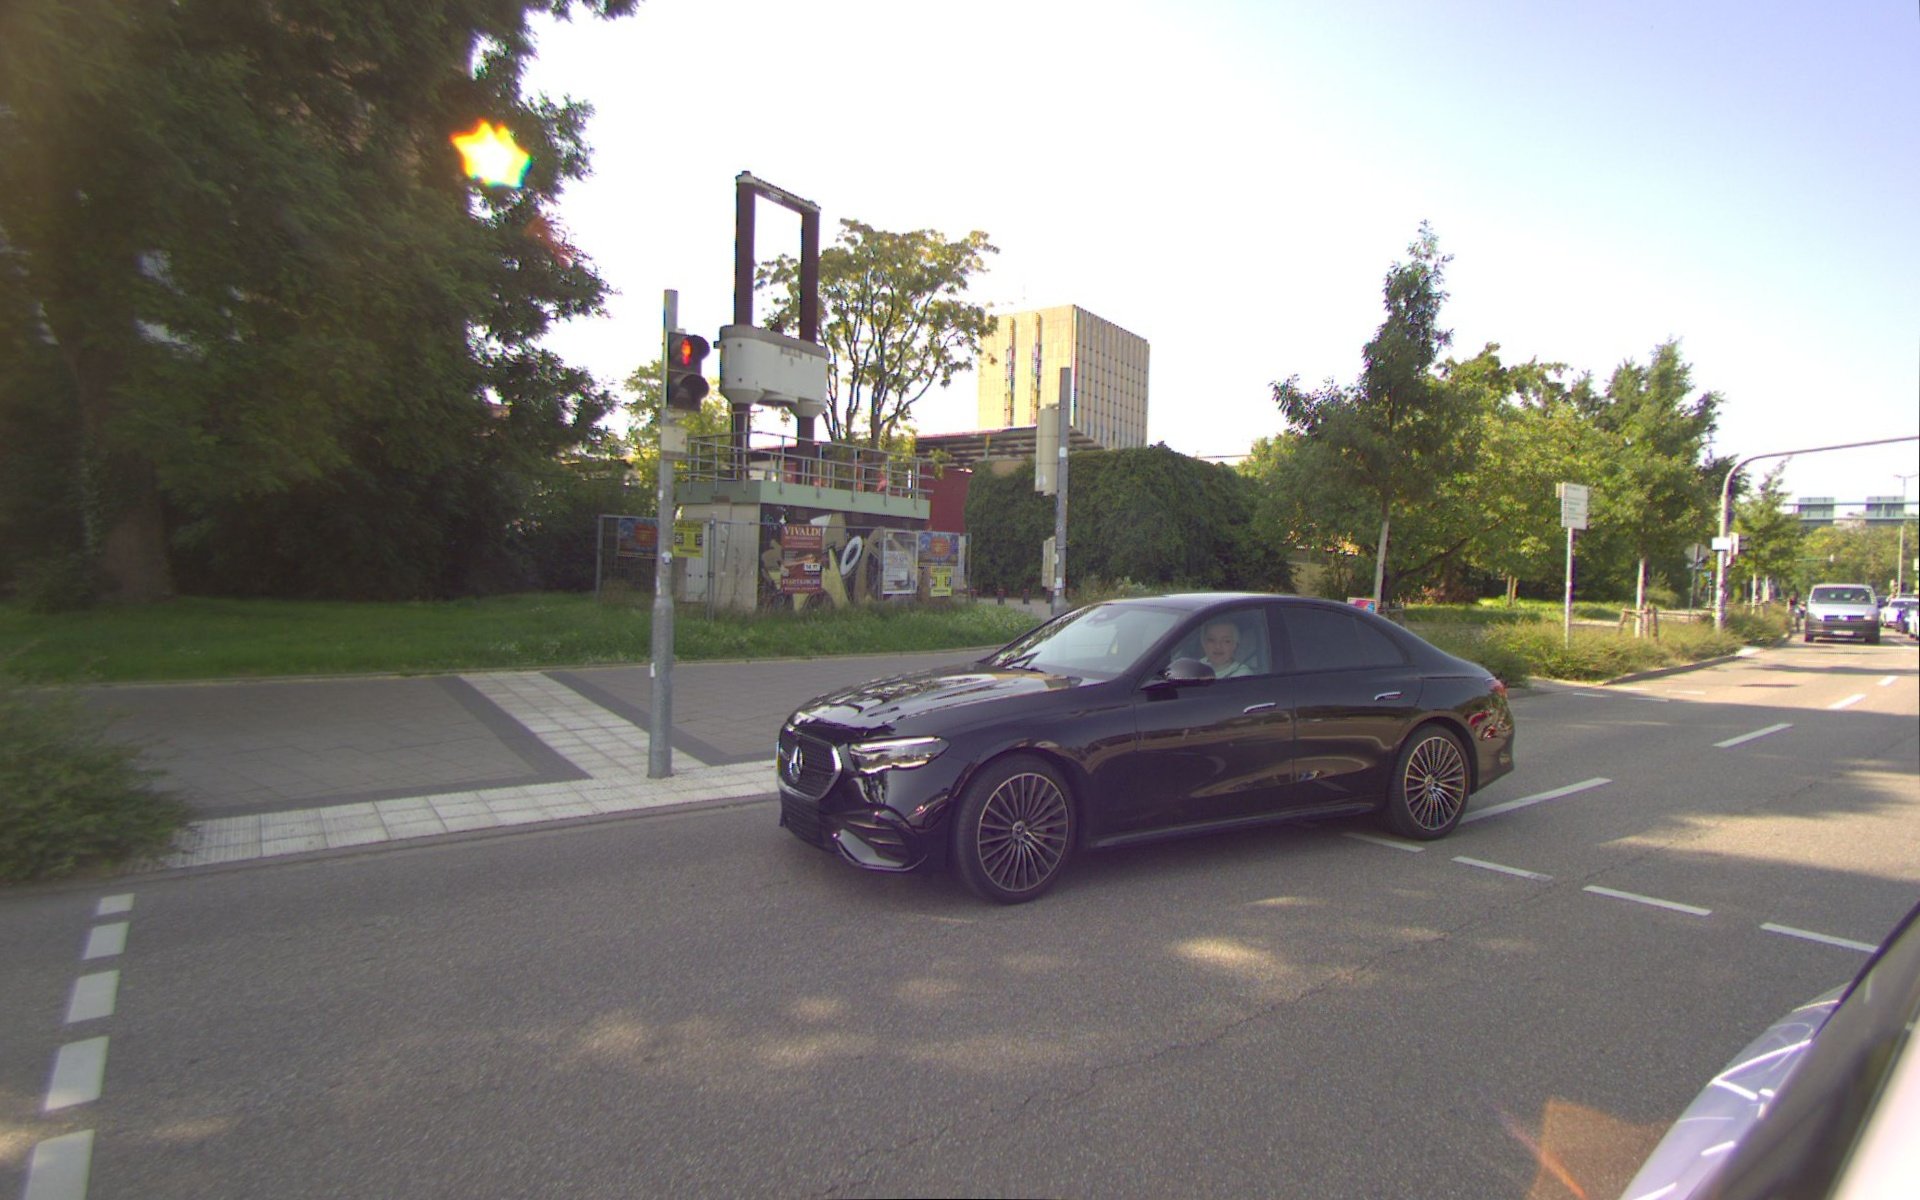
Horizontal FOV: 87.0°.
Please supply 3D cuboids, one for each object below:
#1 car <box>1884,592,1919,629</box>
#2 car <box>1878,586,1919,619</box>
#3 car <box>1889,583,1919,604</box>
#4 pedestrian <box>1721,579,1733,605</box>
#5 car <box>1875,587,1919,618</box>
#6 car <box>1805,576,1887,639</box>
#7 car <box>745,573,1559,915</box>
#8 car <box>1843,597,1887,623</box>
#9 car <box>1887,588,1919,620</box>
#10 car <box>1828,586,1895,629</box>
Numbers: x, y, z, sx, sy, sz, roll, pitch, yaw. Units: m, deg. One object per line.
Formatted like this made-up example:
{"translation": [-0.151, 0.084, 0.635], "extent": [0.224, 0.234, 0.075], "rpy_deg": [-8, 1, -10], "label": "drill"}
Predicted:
{"translation": [42.497, 0.462, 44.898], "extent": [1.992, 1.524, 4.370], "rpy_deg": [3, 2, 40], "label": "car"}
{"translation": [51.604, 0.122, 55.131], "extent": [1.922, 1.680, 4.238], "rpy_deg": [3, 2, 37], "label": "car"}
{"translation": [100.157, -0.696, 107.099], "extent": [1.904, 2.039, 3.956], "rpy_deg": [3, 0, 30], "label": "car"}
{"translation": [56.236, -0.619, 74.167], "extent": [0.620, 1.868, 0.632], "rpy_deg": [2, 2, 39], "label": "pedestrian"}
{"translation": [54.916, 0.133, 58.977], "extent": [1.922, 1.680, 4.238], "rpy_deg": [3, 2, 37], "label": "car"}
{"translation": [29.600, 0.209, 33.749], "extent": [1.841, 1.898, 4.896], "rpy_deg": [3, 2, 43], "label": "car"}
{"translation": [1.279, 0.597, 6.203], "extent": [4.774, 1.458, 1.829], "rpy_deg": [0, 1, -27], "label": "car"}
{"translation": [65.265, 0.687, 73.060], "extent": [1.922, 1.680, 4.238], "rpy_deg": [3, 2, 37], "label": "car"}
{"translation": [47.846, 0.205, 50.484], "extent": [1.922, 1.524, 4.238], "rpy_deg": [3, 2, 37], "label": "car"}
{"translation": [35.336, 0.258, 39.628], "extent": [1.805, 1.524, 3.906], "rpy_deg": [3, 2, 43], "label": "car"}
